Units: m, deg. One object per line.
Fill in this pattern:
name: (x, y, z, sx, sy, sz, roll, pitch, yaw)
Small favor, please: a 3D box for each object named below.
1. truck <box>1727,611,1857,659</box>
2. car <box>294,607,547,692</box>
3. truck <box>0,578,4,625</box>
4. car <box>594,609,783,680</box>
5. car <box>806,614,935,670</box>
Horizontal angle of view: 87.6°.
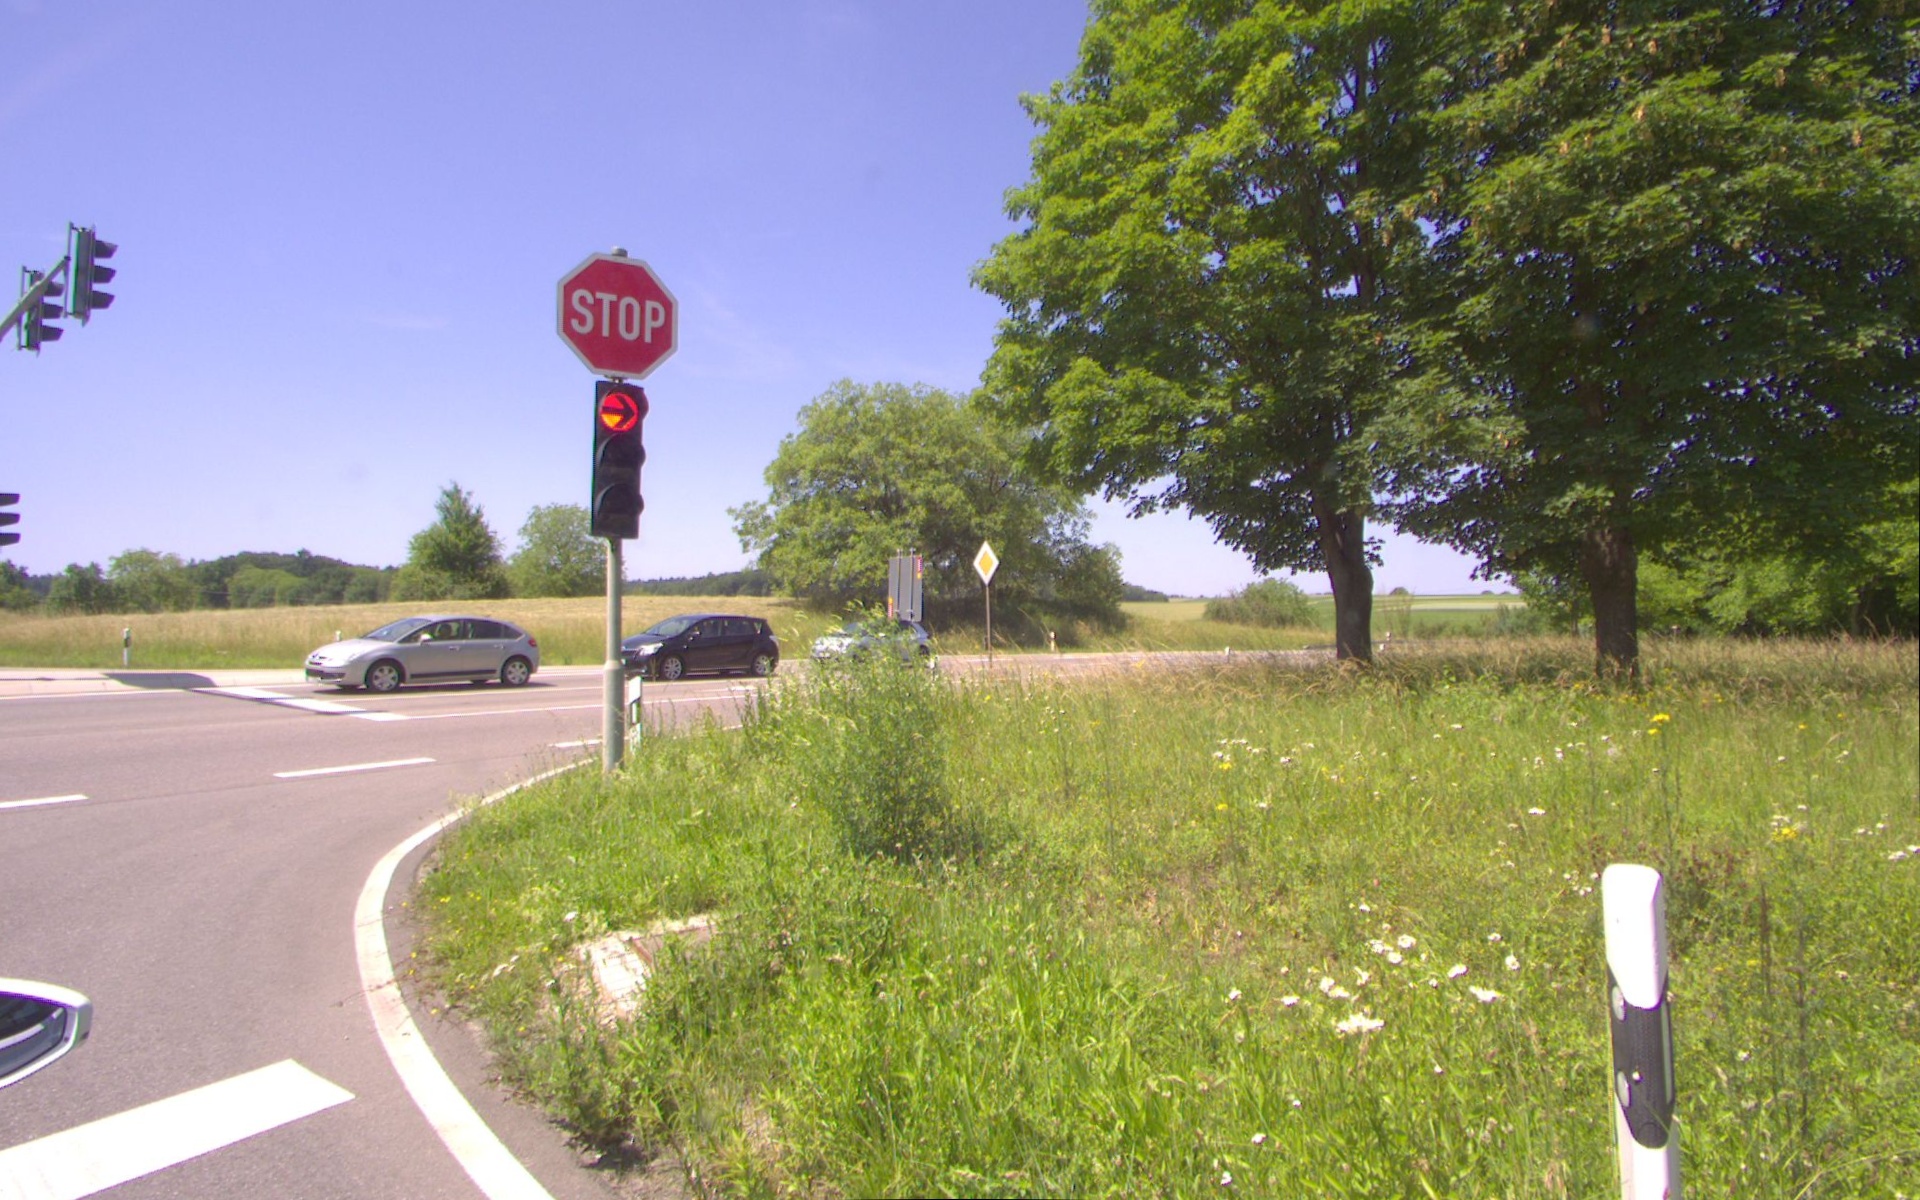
truck: (77.522, 3.303, 93.097, 16.556, 4.185, 2.840, 1, 0, -27)
car: (-10.707, 0.952, 20.150, 1.707, 1.489, 4.143, 2, 0, 37)
truck: (-84.183, 0.074, 85.201, 3.102, 4.227, 16.543, 1, -1, -40)
car: (-6.701, 1.083, 25.110, 1.708, 1.573, 4.350, 2, 0, 40)
car: (-2.723, 1.279, 31.126, 1.635, 1.573, 3.991, 2, 0, 40)
